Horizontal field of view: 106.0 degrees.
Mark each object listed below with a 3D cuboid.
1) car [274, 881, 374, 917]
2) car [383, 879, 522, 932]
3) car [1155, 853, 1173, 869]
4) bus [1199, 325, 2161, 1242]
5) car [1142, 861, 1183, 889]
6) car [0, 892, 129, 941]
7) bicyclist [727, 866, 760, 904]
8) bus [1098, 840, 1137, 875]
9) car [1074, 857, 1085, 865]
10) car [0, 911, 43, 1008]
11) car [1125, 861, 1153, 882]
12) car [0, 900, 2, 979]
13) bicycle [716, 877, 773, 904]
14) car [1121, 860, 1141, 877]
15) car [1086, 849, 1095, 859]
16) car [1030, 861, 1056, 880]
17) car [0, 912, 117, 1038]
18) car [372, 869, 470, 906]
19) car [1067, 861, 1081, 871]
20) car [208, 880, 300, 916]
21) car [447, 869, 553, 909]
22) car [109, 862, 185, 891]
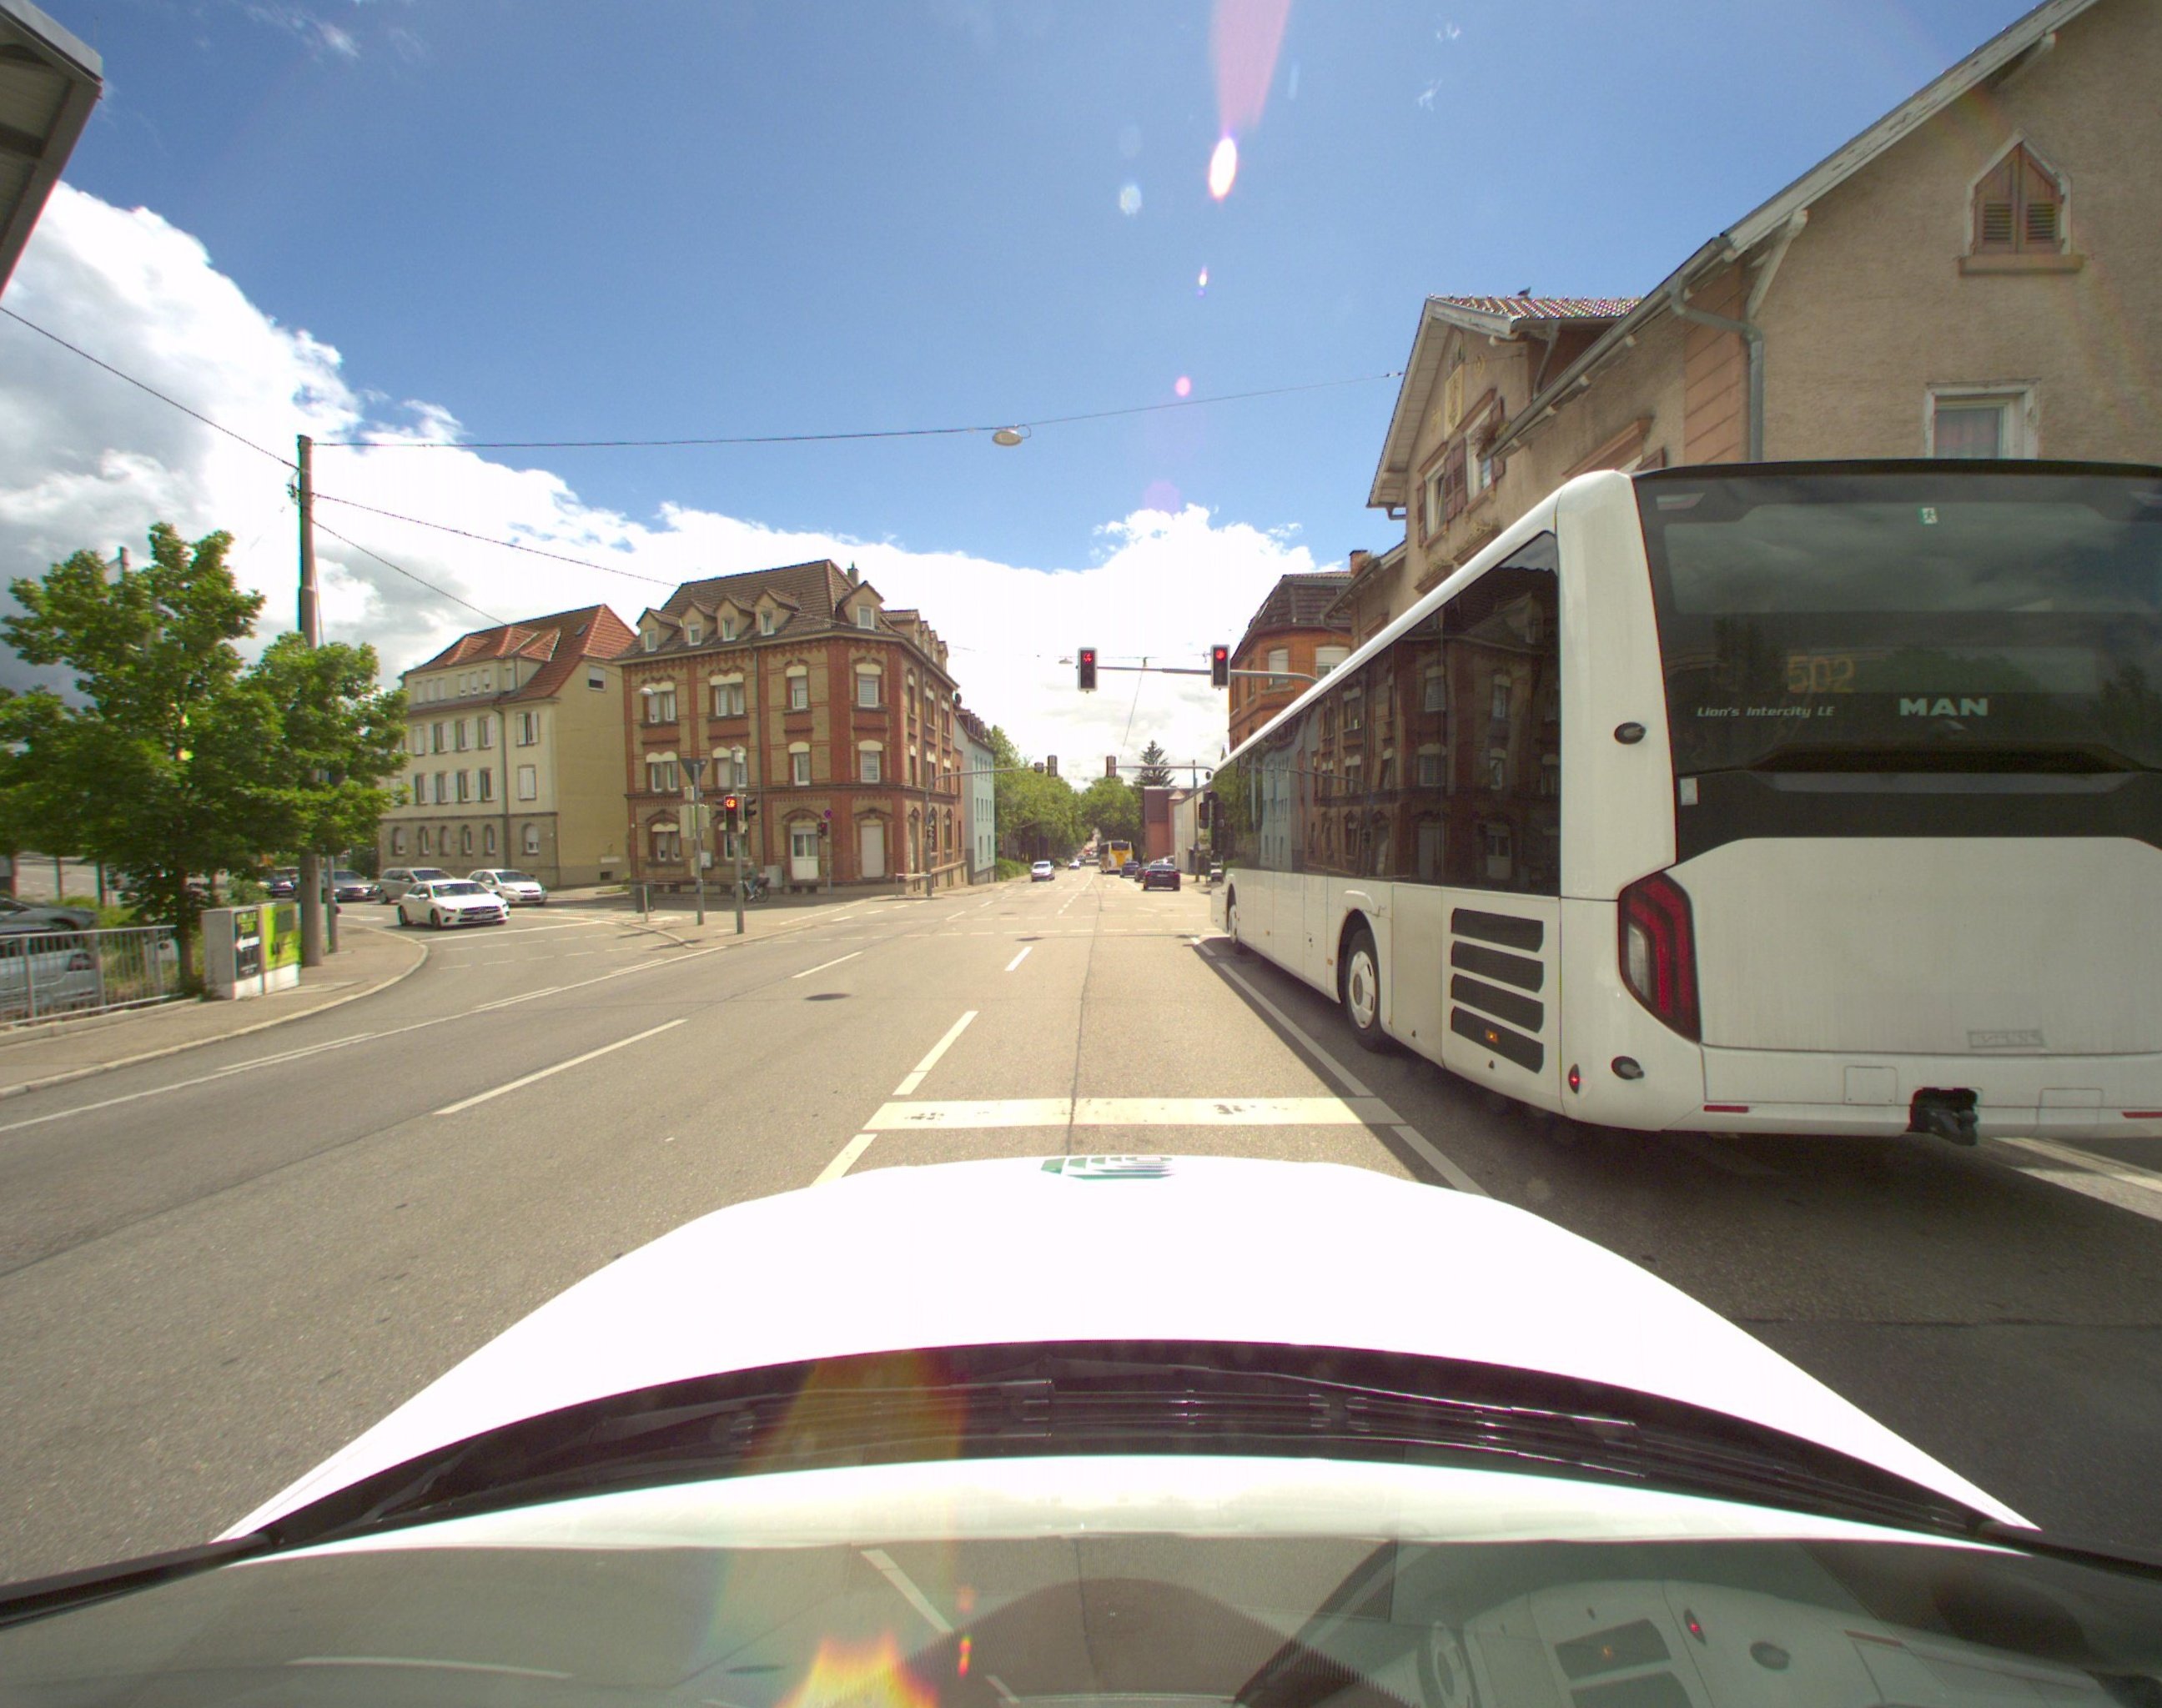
[{"bbox_3d":[-35.451,2.079,38.138,3.951,1.519,2.011,-1,0,24],"label":"car"},{"bbox_3d":[-19.544,1.559,25.281,4.334,1.447,1.874,-2,0,30],"label":"car"},{"bbox_3d":[9.509,0.772,93.260,1.760,1.665,4.002,-2,0,2],"label":"car"},{"bbox_3d":[3.531,-0.228,9.368,2.893,3.510,12.492,0,0,2],"label":"bus"},{"bbox_3d":[4.070,1.044,41.282,1.791,1.276,4.002,-2,0,2],"label":"car"},{"bbox_3d":[-29.253,1.731,22.212,1.795,1.186,4.025,-1,0,31],"label":"car"},{"bbox_3d":[-13.976,1.274,33.697,1.065,1.499,0.592,-2,0,10],"label":"bicyclist"},{"bbox_3d":[4.028,0.389,92.261,3.292,3.631,11.233,-2,0,-2],"label":"bus"},{"bbox_3d":[-0.315,1.522,180.468,2.199,1.613,4.549,-2,0,2],"label":"car"},{"bbox_3d":[-19.711,1.833,14.150,3.744,1.523,1.526,-1,0,30],"label":"car"},{"bbox_3d":[4.217,1.234,59.682,1.858,1.367,4.549,-2,0,2],"label":"car"},{"bbox_3d":[-23.403,1.737,16.430,3.371,1.575,1.526,-1,0,30],"label":"car"},{"bbox_3d":[-13.926,1.511,33.692,2.172,1.019,0.608,-2,0,9],"label":"bicycle"},{"bbox_3d":[4.407,1.223,71.571,1.603,1.376,4.002,-2,0,2],"label":"car"},{"bbox_3d":[2.951,-0.026,250.500,2.130,3.070,5.637,0,-1,7],"label":"car"},{"bbox_3d":[-3.282,1.444,71.366,1.928,1.563,4.390,-2,0,2],"label":"car"},{"bbox_3d":[-16.116,1.741,12.181,3.638,1.575,1.766,-1,-2,34],"label":"car"},{"bbox_3d":[-29.207,1.470,36.046,3.951,1.519,1.757,-1,0,24],"label":"car"},{"bbox_3d":[-1.010,1.804,120.637,1.858,1.367,4.549,-2,0,2],"label":"car"},{"bbox_3d":[-41.973,2.228,41.328,3.951,1.642,2.011,-2,0,24],"label":"car"},{"bbox_3d":[-23.599,1.392,33.060,3.951,1.497,1.711,-1,0,24],"label":"car"},{"bbox_3d":[-54.568,1.312,47.569,4.291,1.586,2.012,-1,0,29],"label":"car"}]
